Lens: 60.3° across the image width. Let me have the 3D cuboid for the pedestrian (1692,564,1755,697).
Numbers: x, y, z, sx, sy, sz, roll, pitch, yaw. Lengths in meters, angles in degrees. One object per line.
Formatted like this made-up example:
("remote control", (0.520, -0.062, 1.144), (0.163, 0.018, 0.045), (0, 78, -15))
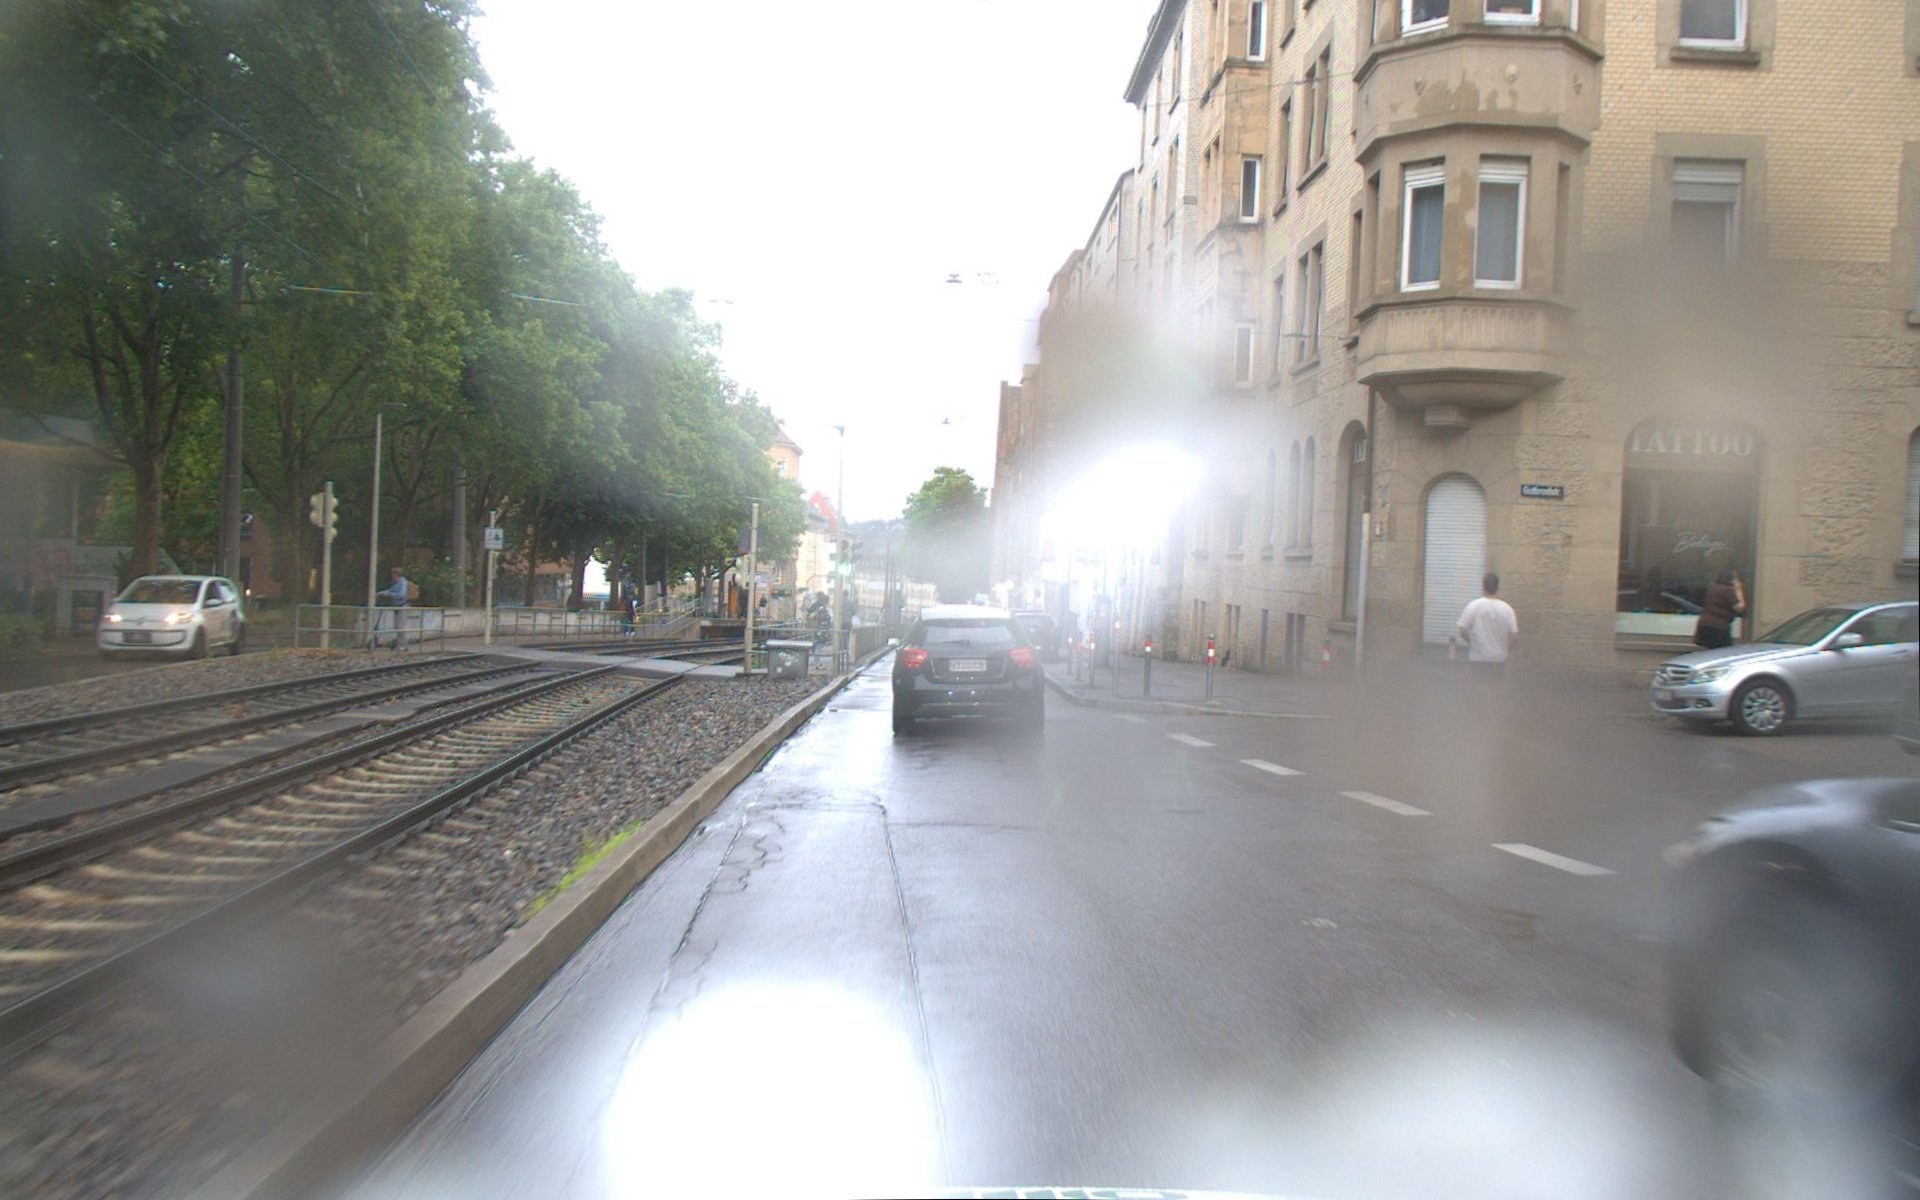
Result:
("pedestrian", (10.000, 0.393, 21.676), (0.536, 1.718, 0.626), (1, -1, 3))

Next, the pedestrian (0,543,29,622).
("pedestrian", (-20.642, -0.381, 35.862), (0.682, 1.691, 0.638), (1, -1, -20))

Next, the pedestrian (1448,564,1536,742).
("pedestrian", (5.569, 0.545, 17.359), (0.680, 1.818, 0.758), (-1, 0, 3))

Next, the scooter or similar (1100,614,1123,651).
("scooter or similar", (5.711, 1.225, 62.414), (0.440, 1.344, 1.774), (0, 0, -8))

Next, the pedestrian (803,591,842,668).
("pedestrian", (-3.019, 0.631, 36.338), (0.789, 1.662, 0.892), (0, 0, -1))

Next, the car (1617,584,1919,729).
("car", (9.997, 0.618, 18.910), (4.247, 1.558, 1.892), (0, 0, 1))

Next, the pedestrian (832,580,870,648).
("pedestrian", (-3.288, 0.408, 49.956), (1.115, 2.033, 1.171), (0, 0, -5))

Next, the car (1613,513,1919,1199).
("car", (2.965, 0.689, 2.861), (1.731, 1.697, 4.329), (2, 0, -3))

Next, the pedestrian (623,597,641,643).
("pedestrian", (-13.043, 0.801, 65.811), (0.523, 1.784, 0.607), (3, -1, -1))

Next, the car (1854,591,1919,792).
("car", (9.387, 0.675, 12.394), (4.358, 1.510, 1.864), (0, 0, 2))

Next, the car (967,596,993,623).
("car", (1.500, 0.750, 128.233), (1.953, 2.049, 4.000), (0, 0, 0))

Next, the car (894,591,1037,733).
("car", (0.019, 0.687, 19.948), (1.548, 1.531, 3.573), (1, 0, -1))

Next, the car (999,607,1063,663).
("car", (2.170, 1.050, 51.411), (1.790, 1.646, 3.863), (0, 0, -1))

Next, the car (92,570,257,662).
("car", (-14.096, 0.257, 29.890), (1.627, 1.523, 3.778), (1, 0, -9))

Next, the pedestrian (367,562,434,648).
("pedestrian", (-11.731, 0.096, 34.706), (1.033, 1.749, 0.904), (2, 0, 0))

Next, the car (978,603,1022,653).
("car", (1.691, 1.182, 71.211), (1.724, 2.049, 3.999), (0, 0, -1))

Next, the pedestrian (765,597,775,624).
("pedestrian", (-12.444, 0.675, 108.073), (0.508, 1.747, 0.551), (3, -1, -1))

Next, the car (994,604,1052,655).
("car", (2.083, 0.964, 55.614), (1.724, 1.606, 3.999), (0, 0, -1))

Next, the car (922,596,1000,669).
("car", (-0.002, 0.741, 39.598), (1.749, 1.609, 3.999), (1, 0, -1))
